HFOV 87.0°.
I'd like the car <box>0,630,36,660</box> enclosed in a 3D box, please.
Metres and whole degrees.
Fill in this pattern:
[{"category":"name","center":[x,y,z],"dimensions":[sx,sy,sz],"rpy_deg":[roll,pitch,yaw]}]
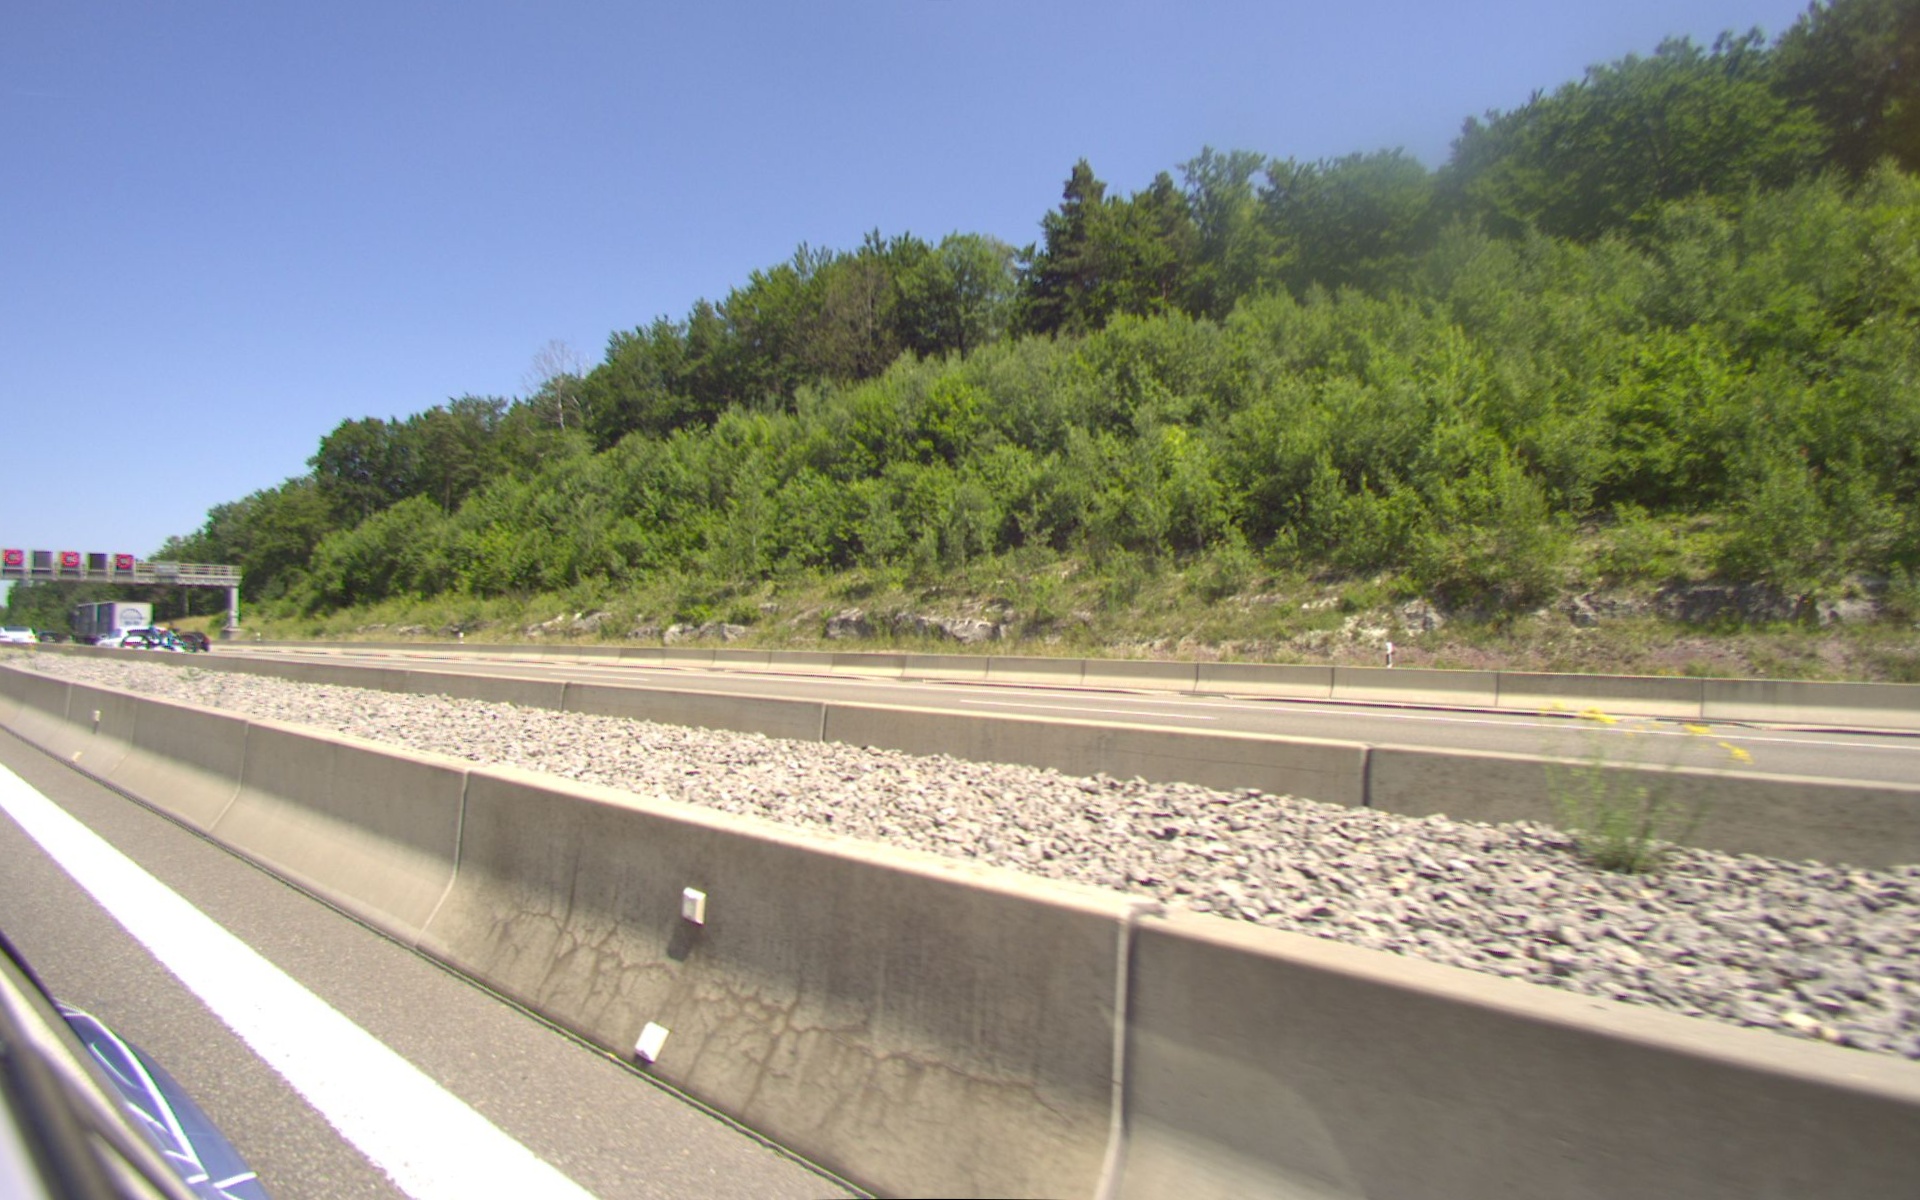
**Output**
[{"category":"car","center":[-52.457,2.447,55.745],"dimensions":[4.159,1.524,1.885],"rpy_deg":[-1,0,42]}]

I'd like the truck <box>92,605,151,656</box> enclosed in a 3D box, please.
[{"category":"truck","center":[-73.095,2.643,88.182],"dimensions":[8.409,4.261,2.632],"rpy_deg":[-1,-2,41]}]

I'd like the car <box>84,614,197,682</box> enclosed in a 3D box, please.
[{"category":"car","center":[-27.205,1.526,33.534],"dimensions":[5.400,2.068,1.973],"rpy_deg":[-1,-2,41]}]

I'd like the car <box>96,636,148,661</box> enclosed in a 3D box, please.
[{"category":"car","center":[-48.654,2.780,58.712],"dimensions":[3.869,1.393,1.721],"rpy_deg":[-1,-2,41]}]

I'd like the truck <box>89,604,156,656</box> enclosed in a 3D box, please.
[{"category":"truck","center":[-73.063,2.613,88.206],"dimensions":[9.858,4.261,2.882],"rpy_deg":[-1,-2,41]}]

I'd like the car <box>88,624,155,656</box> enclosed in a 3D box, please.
[{"category":"car","center":[-42.259,2.000,50.959],"dimensions":[4.906,1.524,1.885],"rpy_deg":[-1,-3,42]}]
